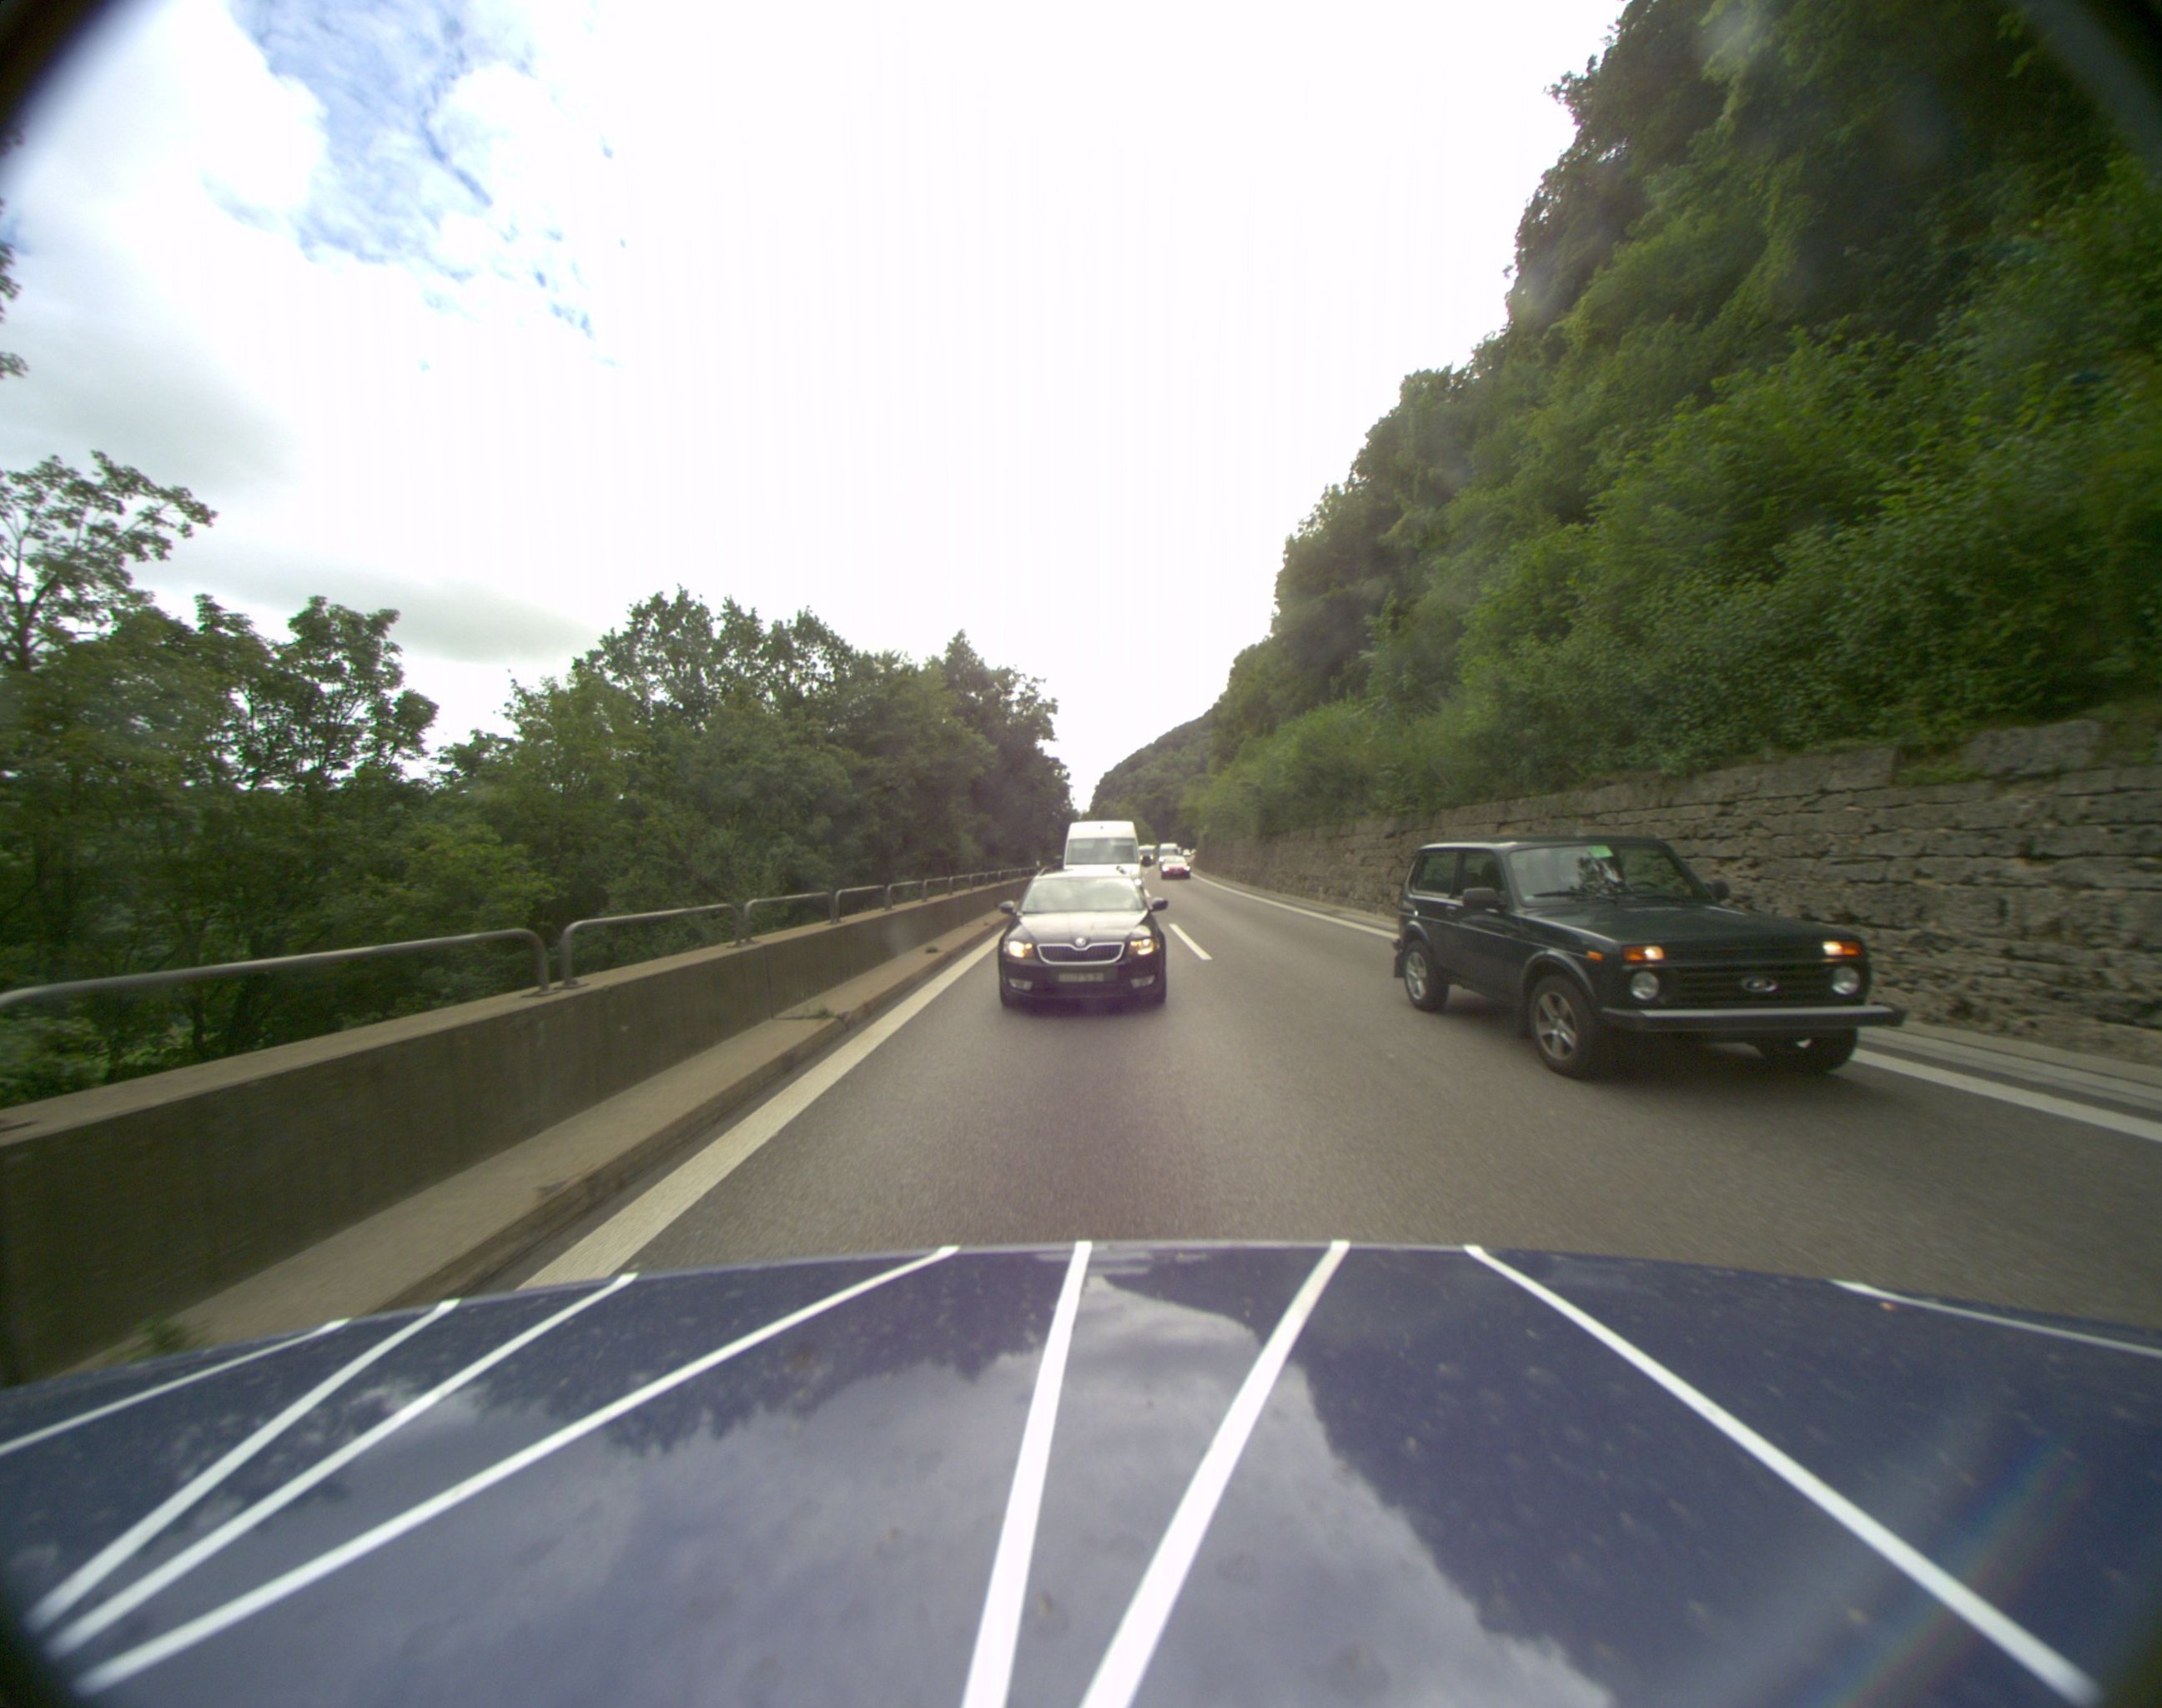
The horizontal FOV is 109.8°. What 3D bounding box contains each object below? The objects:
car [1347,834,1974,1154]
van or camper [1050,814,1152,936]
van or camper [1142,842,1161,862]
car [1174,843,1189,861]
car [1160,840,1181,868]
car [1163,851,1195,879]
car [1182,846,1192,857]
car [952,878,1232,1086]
[{"bbox_3d":[3.909,0.757,6.378,1.813,1.646,4.584,-3,0,2],"label":"car"},{"bbox_3d":[0.549,0.450,19.502,2.081,2.575,5.912,-3,0,2],"label":"van or camper"},{"bbox_3d":[9.840,-0.352,105.508,2.269,2.527,5.913,-4,1,7],"label":"van or camper"},{"bbox_3d":[14.297,-0.288,107.760,1.975,2.545,4.586,-2,0,9],"label":"car"},{"bbox_3d":[8.882,-0.002,75.839,1.975,2.628,4.585,-2,0,6],"label":"car"},{"bbox_3d":[6.261,0.682,48.889,1.812,1.646,4.585,-3,0,6],"label":"car"},{"bbox_3d":[23.817,-0.578,170.895,1.975,2.545,4.586,-2,0,9],"label":"car"},{"bbox_3d":[0.234,1.019,8.044,1.998,1.389,5.010,-2,-1,4],"label":"car"}]
